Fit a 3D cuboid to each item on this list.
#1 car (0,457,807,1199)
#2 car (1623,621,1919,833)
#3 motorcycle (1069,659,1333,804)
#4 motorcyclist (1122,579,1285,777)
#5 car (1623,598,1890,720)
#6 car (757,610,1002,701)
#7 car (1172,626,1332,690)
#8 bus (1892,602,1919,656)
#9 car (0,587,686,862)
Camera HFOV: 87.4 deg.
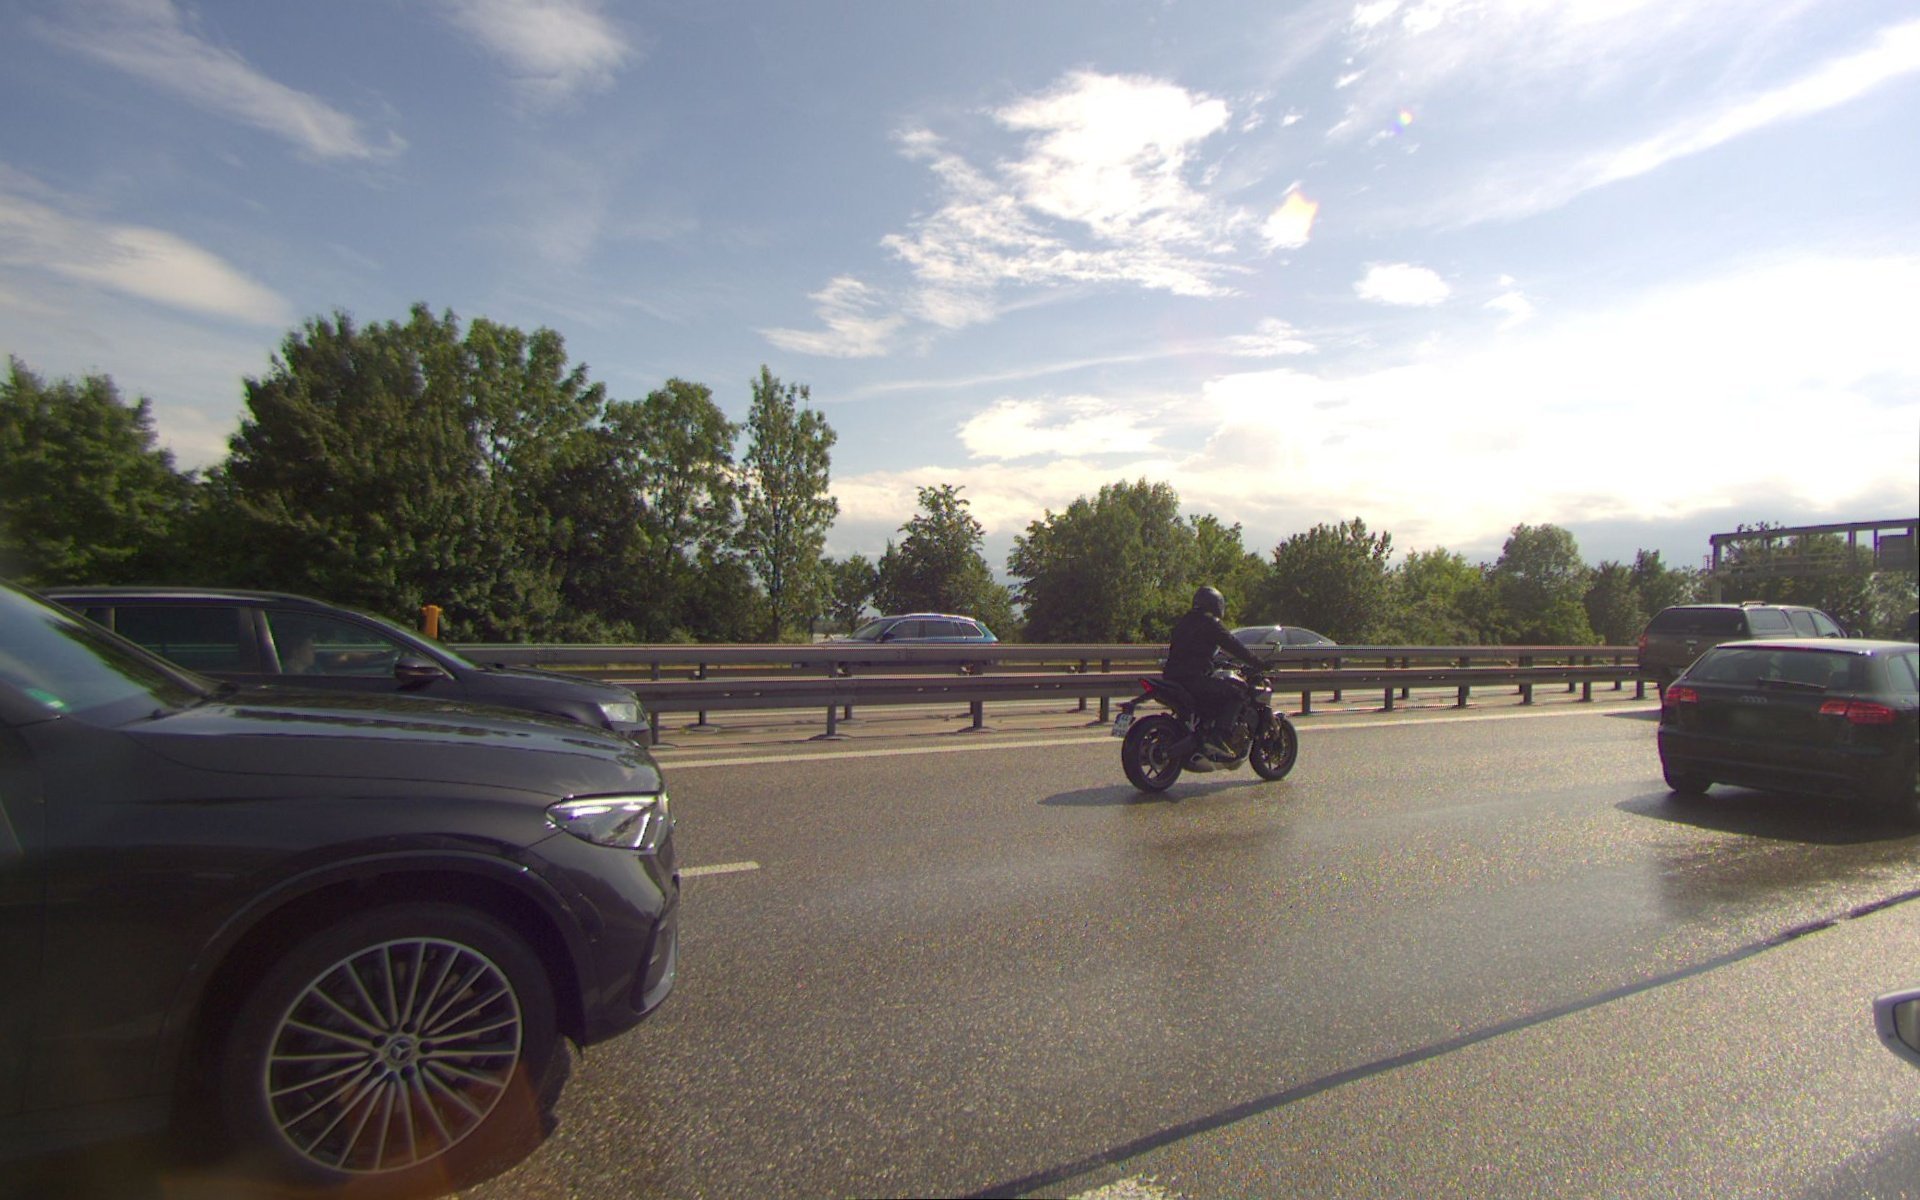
[{"bbox_3d":[-2.878,0.553,2.512,4.571,1.701,1.868,1,0,-30],"label":"car"},{"bbox_3d":[7.834,0.955,8.842,4.006,1.452,1.742,1,0,-30],"label":"car"},{"bbox_3d":[2.087,1.053,8.530,2.361,1.041,0.687,1,0,-31],"label":"motorcycle"},{"bbox_3d":[2.061,0.628,8.522,1.080,1.558,0.792,1,0,-31],"label":"motorcyclist"},{"bbox_3d":[14.005,0.963,17.568,5.353,1.869,1.798,1,0,-30],"label":"car"},{"bbox_3d":[-1.656,1.121,21.235,4.771,1.707,1.983,1,-1,-31],"label":"car"},{"bbox_3d":[6.493,1.255,22.259,3.368,1.283,1.504,1,0,-30],"label":"car"},{"bbox_3d":[66.052,1.981,66.542,12.324,3.418,2.877,2,0,-30],"label":"bus"},{"bbox_3d":[-4.290,0.690,6.857,4.322,1.444,1.910,2,-1,-31],"label":"car"}]
